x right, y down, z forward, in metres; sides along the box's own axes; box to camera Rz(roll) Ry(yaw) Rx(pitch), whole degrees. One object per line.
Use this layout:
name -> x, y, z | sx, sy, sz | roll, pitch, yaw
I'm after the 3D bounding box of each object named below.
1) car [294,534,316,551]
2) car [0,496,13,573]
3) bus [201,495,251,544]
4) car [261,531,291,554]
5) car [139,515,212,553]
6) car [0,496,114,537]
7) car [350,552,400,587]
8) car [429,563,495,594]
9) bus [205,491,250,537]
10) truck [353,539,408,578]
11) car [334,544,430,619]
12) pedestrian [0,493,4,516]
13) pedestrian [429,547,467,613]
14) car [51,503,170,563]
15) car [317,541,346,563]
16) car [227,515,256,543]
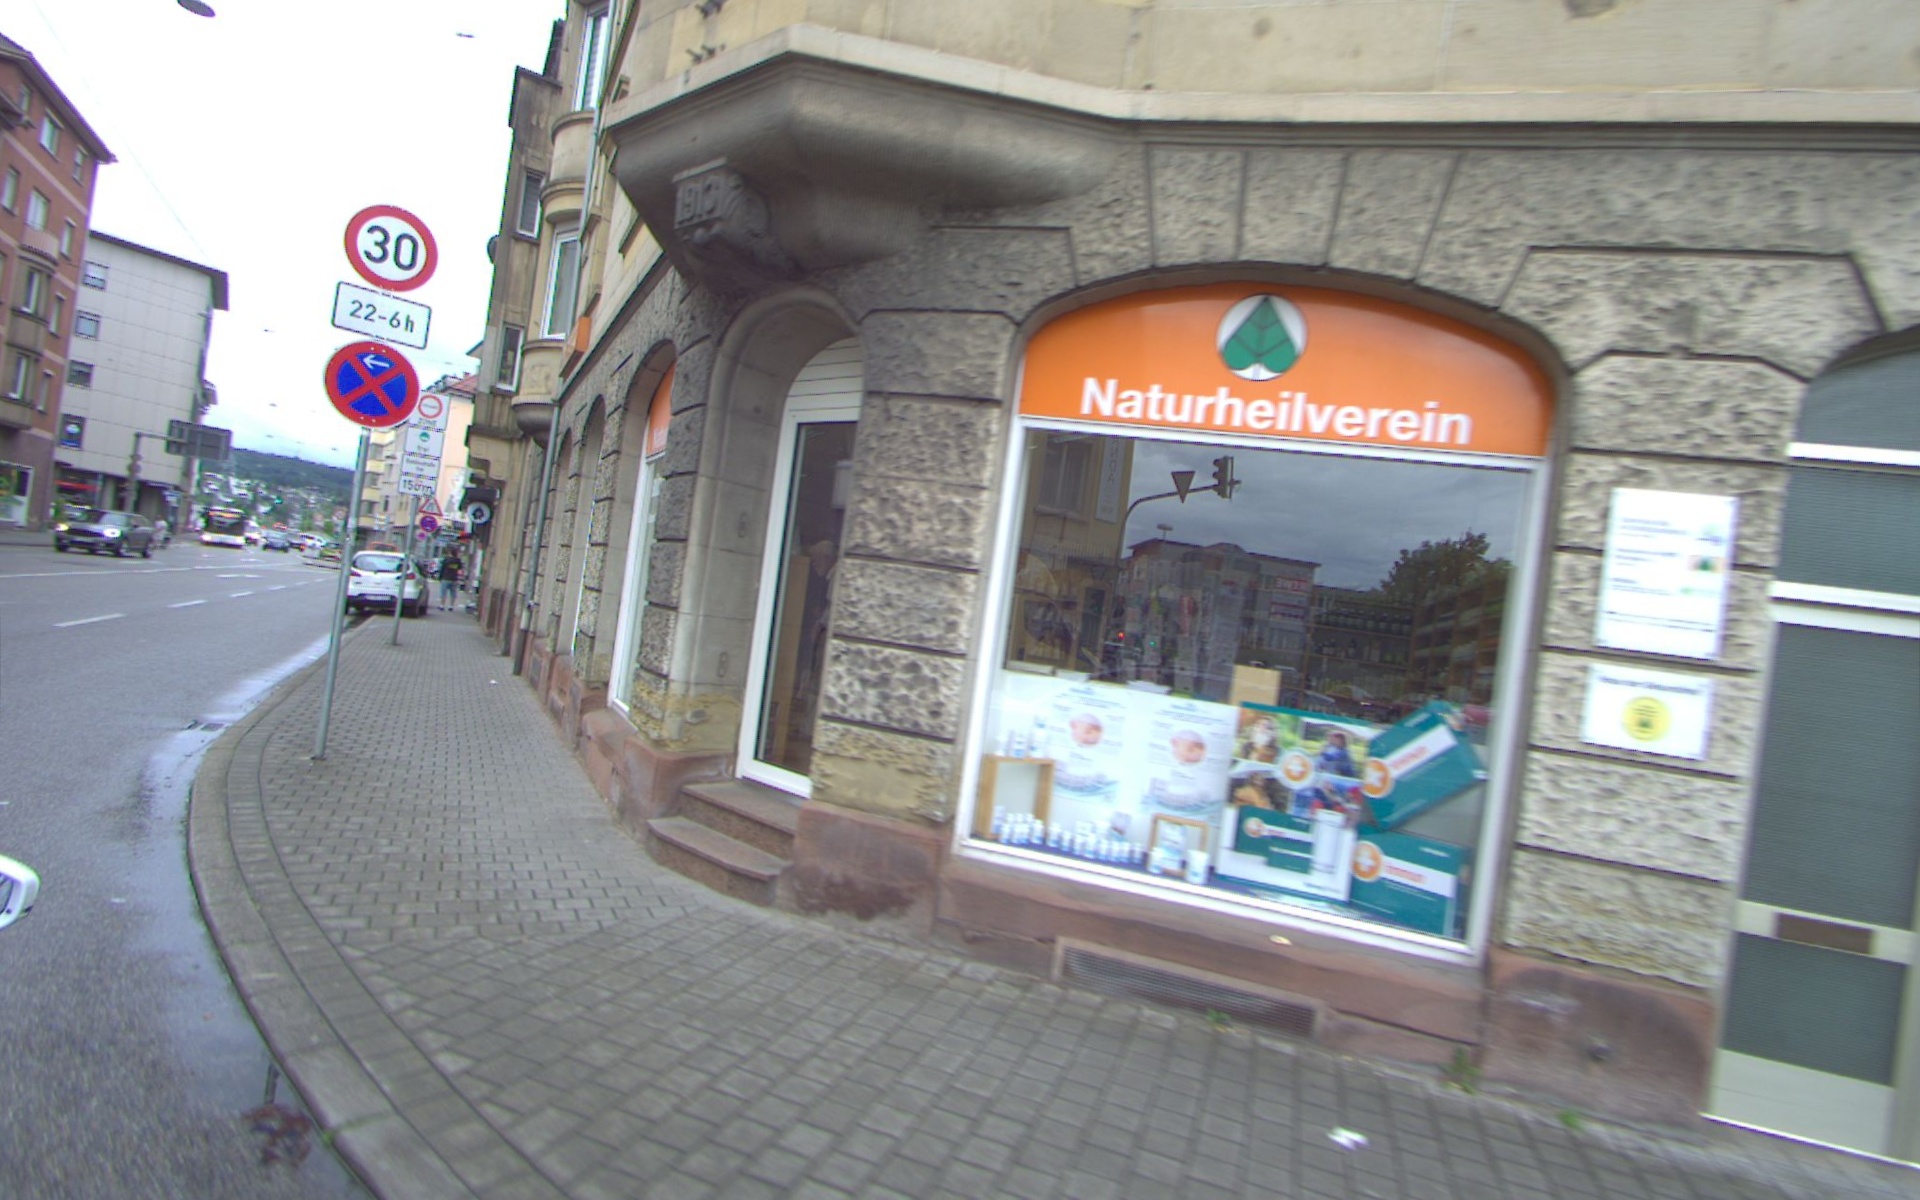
car -> -73.660, -6.473, 113.064 | 1.745, 1.670, 3.961 | 8, -2, -36
car -> -18.556, -1.330, 17.377 | 1.928, 1.487, 4.528 | 8, -2, -28
bus -> -57.679, -6.222, 79.106 | 2.745, 3.225, 8.825 | 8, -2, -36
car -> -58.576, -4.953, 86.154 | 1.746, 1.670, 4.264 | 8, -2, -37
car -> -39.510, -3.264, 50.783 | 1.837, 1.412, 4.761 | 12, -3, -27
car -> -52.948, -4.866, 59.043 | 1.875, 1.550, 4.635 | 6, -2, 34
car -> -30.954, -1.643, 53.167 | 1.745, 1.496, 3.961 | 9, -2, -36
car -> -34.895, -1.508, 70.475 | 3.803, 1.592, 1.919 | 9, -2, -34
bus -> -62.921, -7.281, 86.434 | 2.712, 3.225, 9.203 | 8, -2, -36
truck -> -38.325, -2.759, 66.495 | 2.388, 2.154, 5.263 | 8, -2, -36
car -> -14.403, -0.461, 25.275 | 1.633, 1.511, 4.421 | 8, -2, -26
pedestrian -> -34.594, -3.035, 35.605 | 0.840, 1.696, 0.844 | 11, -4, -40
pedestrian -> -14.867, -0.593, 29.212 | 0.738, 1.800, 0.789 | 8, -1, -30
car -> -29.827, -2.296, 35.472 | 1.963, 1.613, 4.313 | 8, -2, -25
car -> -55.216, -4.230, 88.401 | 1.745, 1.670, 3.961 | 8, -2, -36
car -> -73.834, -7.245, 103.465 | 2.074, 2.463, 6.295 | 8, -2, -34
